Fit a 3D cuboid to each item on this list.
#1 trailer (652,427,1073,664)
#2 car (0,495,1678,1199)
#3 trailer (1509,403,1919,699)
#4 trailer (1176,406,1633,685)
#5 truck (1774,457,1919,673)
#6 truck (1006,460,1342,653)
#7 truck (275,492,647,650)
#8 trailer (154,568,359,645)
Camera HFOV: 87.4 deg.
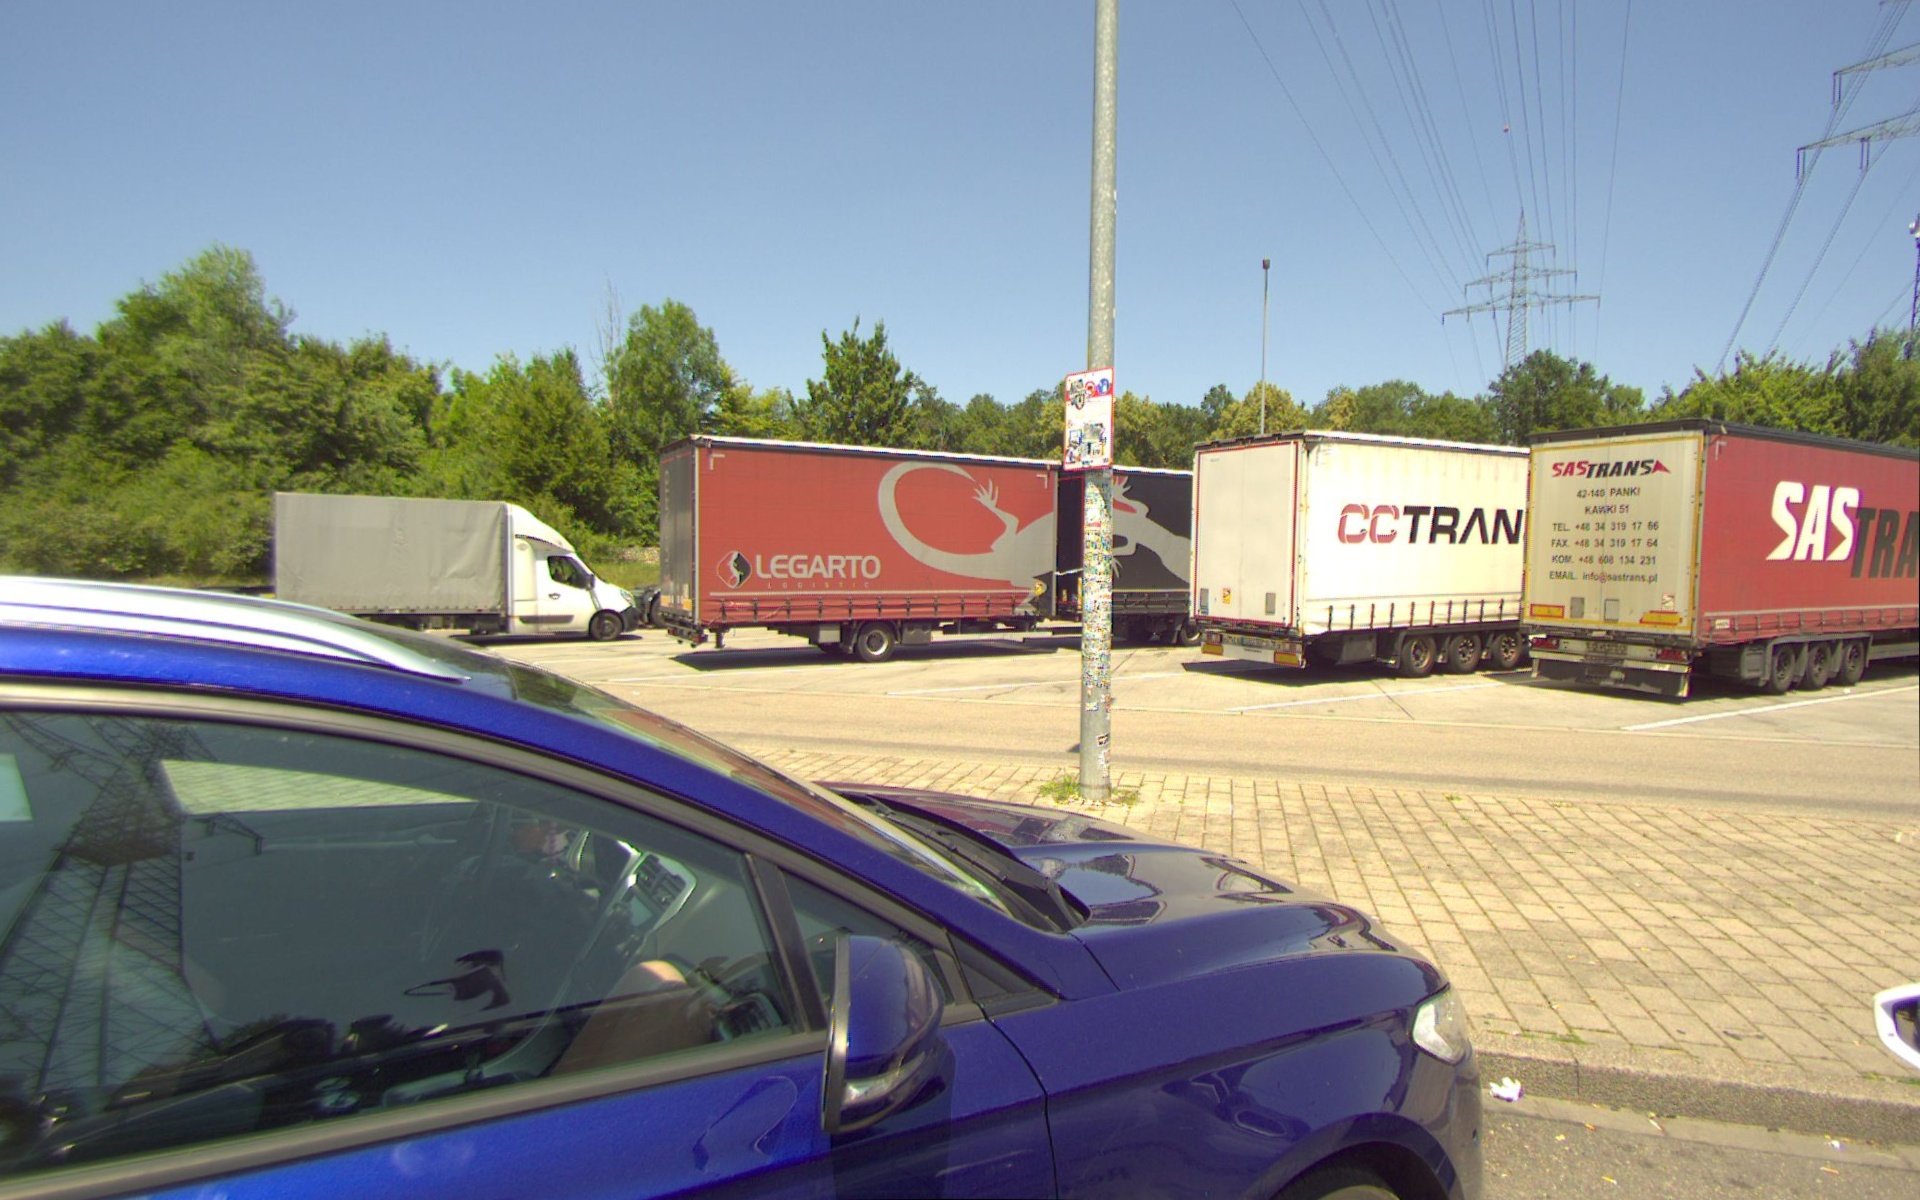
[{"bbox_3d":[-1.783,-0.918,20.322,8.158,4.027,2.651,0,1,-30],"label":"trailer"},{"bbox_3d":[-1.003,0.658,1.477,4.419,1.485,1.765,0,1,-32],"label":"car"},{"bbox_3d":[15.293,-0.671,18.509,13.129,4.112,2.736,0,1,-31],"label":"trailer"},{"bbox_3d":[8.719,-0.830,19.118,9.614,4.321,2.733,0,1,-29],"label":"trailer"},{"bbox_3d":[20.826,-0.675,21.782,6.749,4.136,2.729,0,1,-31],"label":"truck"},{"bbox_3d":[5.409,-0.911,24.594,8.534,4.073,2.624,0,1,-30],"label":"truck"},{"bbox_3d":[-11.111,-0.605,22.929,7.265,3.170,2.352,0,1,-30],"label":"truck"},{"bbox_3d":[-16.497,0.147,23.790,3.856,1.684,1.464,0,1,-30],"label":"trailer"}]
